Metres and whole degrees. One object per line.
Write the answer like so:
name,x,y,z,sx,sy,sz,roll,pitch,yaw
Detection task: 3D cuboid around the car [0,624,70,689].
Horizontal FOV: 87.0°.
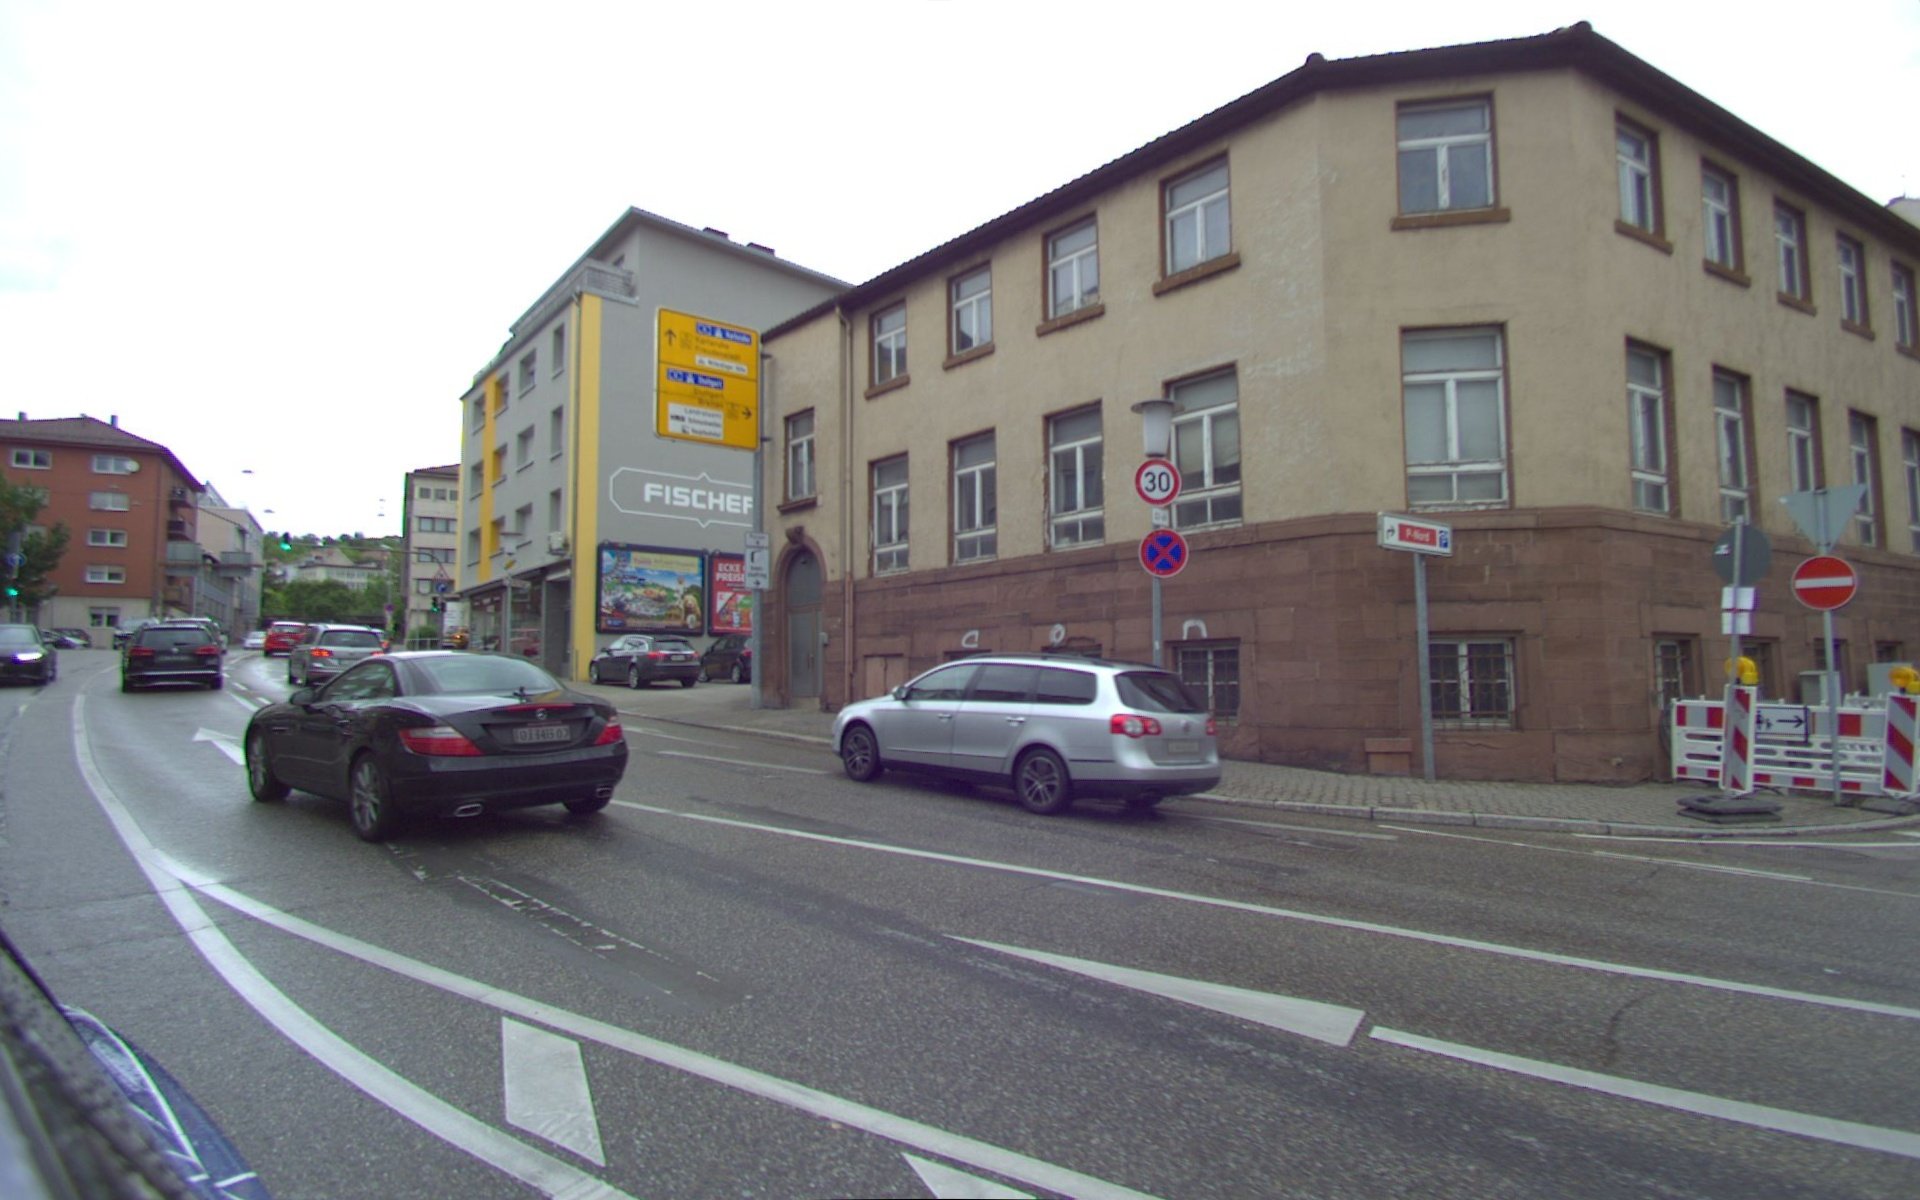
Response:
car,-22.867,1.371,24.244,1.845,1.453,4.009,2,-4,-35

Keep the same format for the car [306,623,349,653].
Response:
car,-35.910,2.131,57.418,1.717,1.527,4.140,5,-4,-36

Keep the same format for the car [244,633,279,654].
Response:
car,-55.127,3.464,79.971,1.809,1.566,4.012,2,-4,-29

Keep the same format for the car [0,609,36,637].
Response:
car,-60.498,1.347,62.424,4.713,1.566,1.856,4,-5,-27

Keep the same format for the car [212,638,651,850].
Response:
car,-4.521,1.001,8.400,4.139,1.327,1.697,-2,-4,39

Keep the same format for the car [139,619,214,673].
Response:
car,-26.860,1.534,34.638,1.784,1.718,4.569,2,-2,-40

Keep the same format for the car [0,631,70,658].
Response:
car,-62.203,2.986,67.385,3.931,1.732,1.999,1,-4,-18

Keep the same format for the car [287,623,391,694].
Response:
car,-15.780,1.437,25.631,1.692,1.598,4.152,6,-5,-37

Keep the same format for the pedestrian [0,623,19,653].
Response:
pedestrian,-55.234,2.188,58.550,0.702,1.660,0.757,-1,-8,9

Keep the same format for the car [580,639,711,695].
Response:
car,-9.143,1.870,29.185,1.671,1.466,4.668,3,-3,-44

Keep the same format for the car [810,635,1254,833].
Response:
car,0.538,1.237,10.676,1.724,1.550,4.646,7,-5,-44

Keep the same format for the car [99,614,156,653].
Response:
car,-42.818,1.747,52.115,1.764,1.741,4.011,1,-6,-32

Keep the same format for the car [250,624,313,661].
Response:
car,-31.241,1.943,46.550,1.719,1.527,4.135,6,-5,-42

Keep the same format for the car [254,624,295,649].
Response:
car,-45.614,2.401,67.425,1.781,1.533,4.575,3,-2,-29

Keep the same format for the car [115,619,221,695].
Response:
car,-17.891,1.223,22.908,1.701,1.527,4.378,2,-2,-38

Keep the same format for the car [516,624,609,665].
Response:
car,-20.483,2.296,52.240,1.861,1.807,3.943,-4,-1,44

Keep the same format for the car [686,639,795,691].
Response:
car,-6.855,1.959,31.400,1.670,1.475,3.860,2,-3,-41
